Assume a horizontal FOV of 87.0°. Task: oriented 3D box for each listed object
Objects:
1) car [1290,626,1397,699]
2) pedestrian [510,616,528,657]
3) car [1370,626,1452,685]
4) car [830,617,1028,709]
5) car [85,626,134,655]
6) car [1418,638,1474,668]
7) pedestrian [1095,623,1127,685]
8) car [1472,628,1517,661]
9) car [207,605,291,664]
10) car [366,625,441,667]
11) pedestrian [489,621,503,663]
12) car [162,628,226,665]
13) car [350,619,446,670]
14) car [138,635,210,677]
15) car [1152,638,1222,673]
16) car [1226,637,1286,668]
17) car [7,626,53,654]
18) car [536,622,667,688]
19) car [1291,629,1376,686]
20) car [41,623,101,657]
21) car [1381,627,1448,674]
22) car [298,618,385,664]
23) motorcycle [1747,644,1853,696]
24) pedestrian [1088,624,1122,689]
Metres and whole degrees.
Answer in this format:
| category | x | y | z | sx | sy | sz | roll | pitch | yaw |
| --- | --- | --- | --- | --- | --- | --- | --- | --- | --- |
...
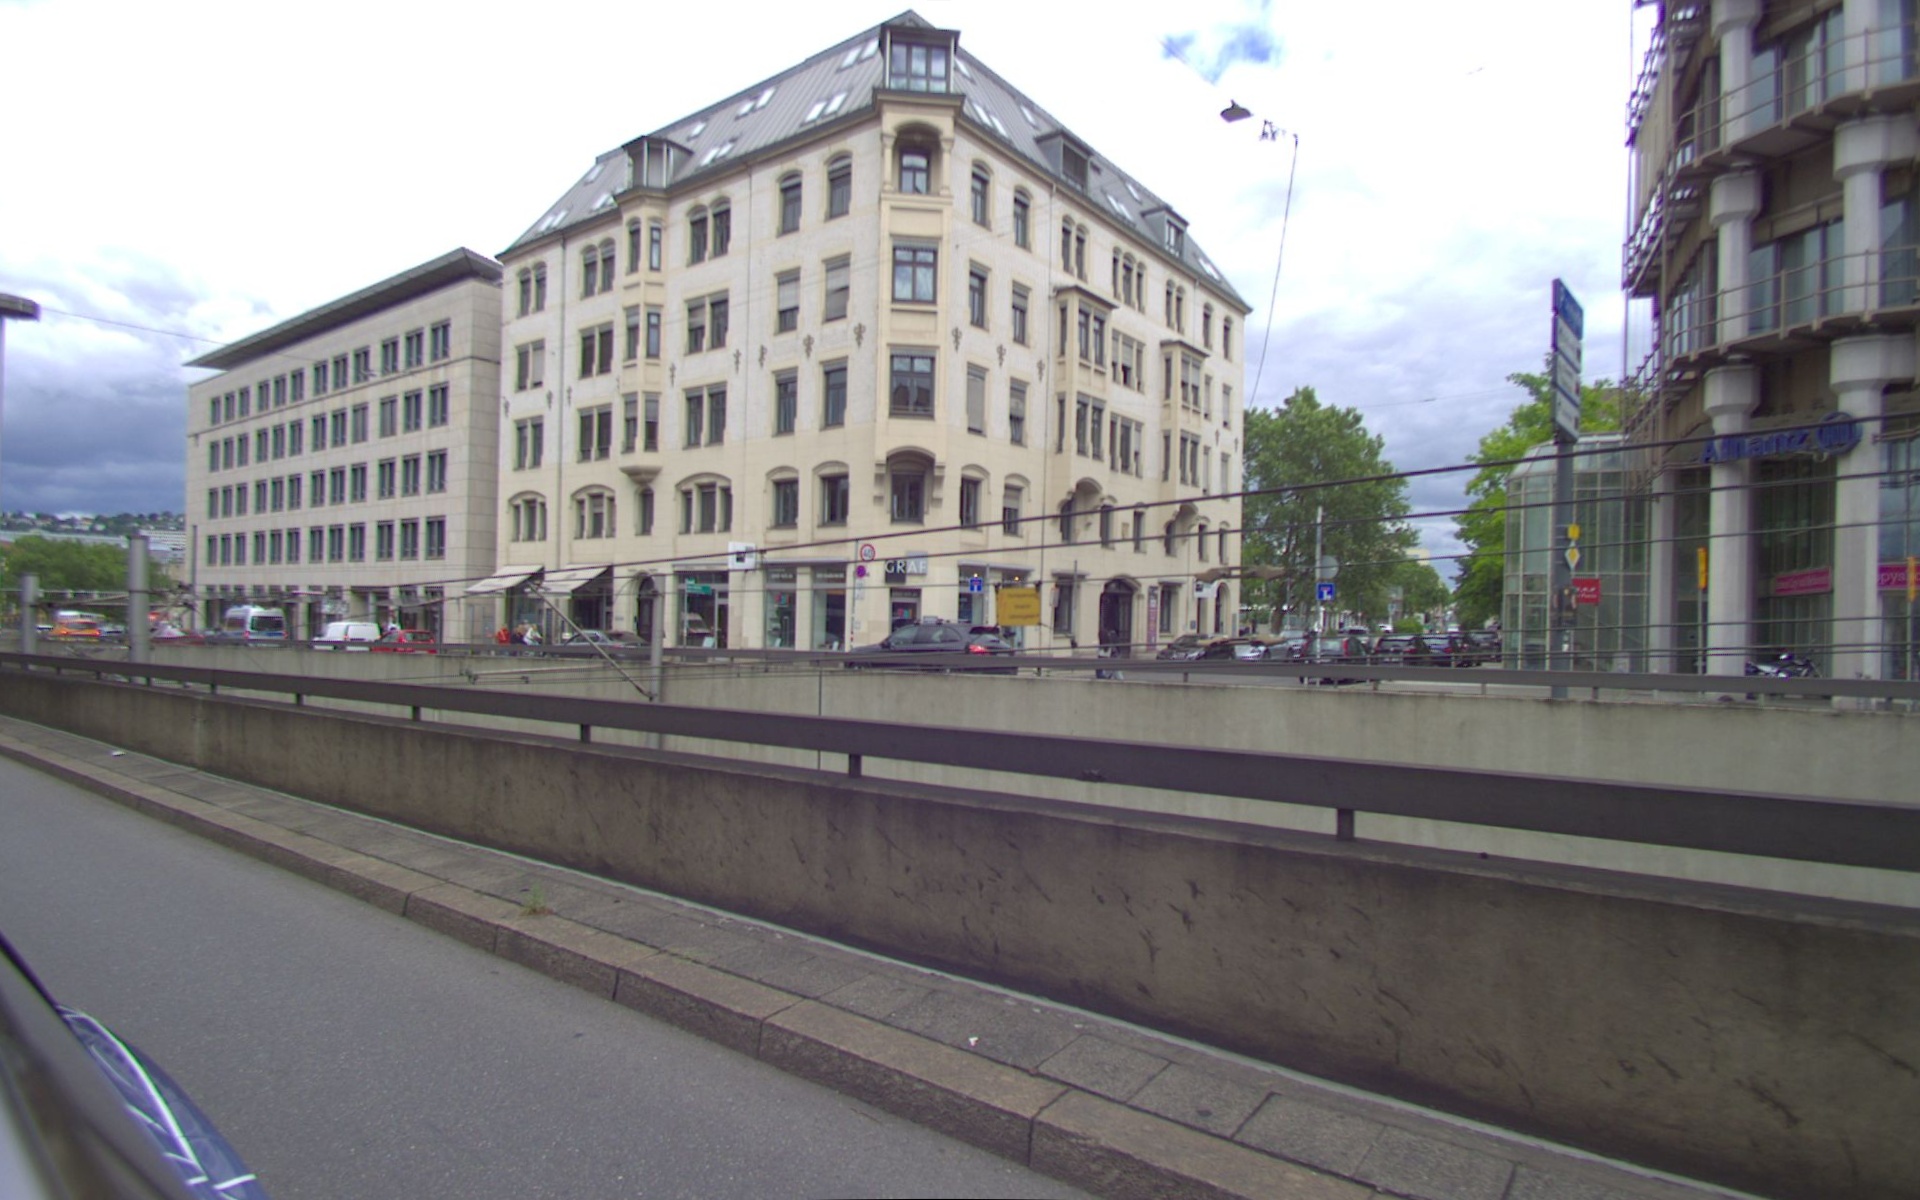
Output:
| category | x | y | z | sx | sy | sz | roll | pitch | yaw |
| --- | --- | --- | --- | --- | --- | --- | --- | --- | --- |
| car | 9.609 | 1.497 | 25.205 | 1.646 | 1.674 | 3.606 | -1 | -2 | 35 |
| pedestrian | -19.515 | 1.614 | 44.773 | 0.568 | 1.793 | 0.512 | 1 | -2 | -45 |
| car | 13.701 | 1.637 | 30.664 | 1.646 | 1.674 | 3.557 | -1 | -2 | 35 |
| car | -0.838 | 1.455 | 25.083 | 4.784 | 2.029 | 1.974 | -1 | 0 | 39 |
| car | -60.391 | 2.867 | 71.861 | 3.997 | 2.029 | 1.973 | -1 | -2 | 40 |
| car | 20.075 | 2.147 | 41.734 | 1.535 | 1.140 | 3.557 | -1 | -2 | 35 |
| pedestrian | 4.227 | 1.502 | 28.331 | 0.684 | 1.724 | 0.705 | -2 | -2 | 28 |
| car | 27.936 | 2.309 | 52.875 | 1.646 | 1.674 | 3.557 | -1 | -2 | 35 |
| car | -39.000 | 1.842 | 55.465 | 5.463 | 3.083 | 2.341 | -1 | 0 | 39 |
| car | -28.440 | 2.321 | 51.715 | 3.995 | 2.029 | 1.974 | -1 | -2 | 38 |
| pedestrian | -19.901 | 1.800 | 43.430 | 0.502 | 1.793 | 0.579 | 0 | -1 | -28 |
| car | -45.720 | 2.734 | 60.371 | 4.784 | 2.029 | 1.974 | -1 | 0 | 39 |
| car | -24.443 | 1.881 | 43.944 | 4.784 | 2.029 | 1.974 | -1 | 0 | 39 |
| car | -41.634 | 2.906 | 53.557 | 4.784 | 2.029 | 1.974 | -1 | 0 | 39 |
| car | 8.992 | 2.149 | 39.887 | 1.644 | 1.243 | 3.562 | -1 | -2 | 31 |
| car | 12.983 | 2.275 | 44.300 | 1.431 | 1.204 | 3.557 | 4 | 1 | 35 |
| car | -68.837 | 2.960 | 74.915 | 3.997 | 2.029 | 1.973 | -1 | -2 | 40 |
| car | -12.224 | 1.797 | 34.355 | 4.784 | 2.029 | 1.974 | -1 | 0 | 39 |
| car | 11.767 | 1.756 | 31.782 | 1.646 | 1.674 | 3.557 | -1 | -2 | 35 |
| car | -57.829 | 2.555 | 65.804 | 4.784 | 2.029 | 2.089 | -1 | 0 | 39 |
| car | 17.046 | 1.857 | 37.885 | 1.646 | 1.674 | 3.557 | -1 | -2 | 35 |
| car | -29.281 | 1.889 | 47.859 | 4.784 | 2.029 | 1.974 | -1 | 0 | 39 |
| motorcycle | 18.567 | 1.531 | 22.409 | 1.659 | 1.083 | 0.640 | -1 | 0 | 19 |
| pedestrian | 3.931 | 1.505 | 27.368 | 0.684 | 1.724 | 0.705 | -2 | -2 | 28 |
